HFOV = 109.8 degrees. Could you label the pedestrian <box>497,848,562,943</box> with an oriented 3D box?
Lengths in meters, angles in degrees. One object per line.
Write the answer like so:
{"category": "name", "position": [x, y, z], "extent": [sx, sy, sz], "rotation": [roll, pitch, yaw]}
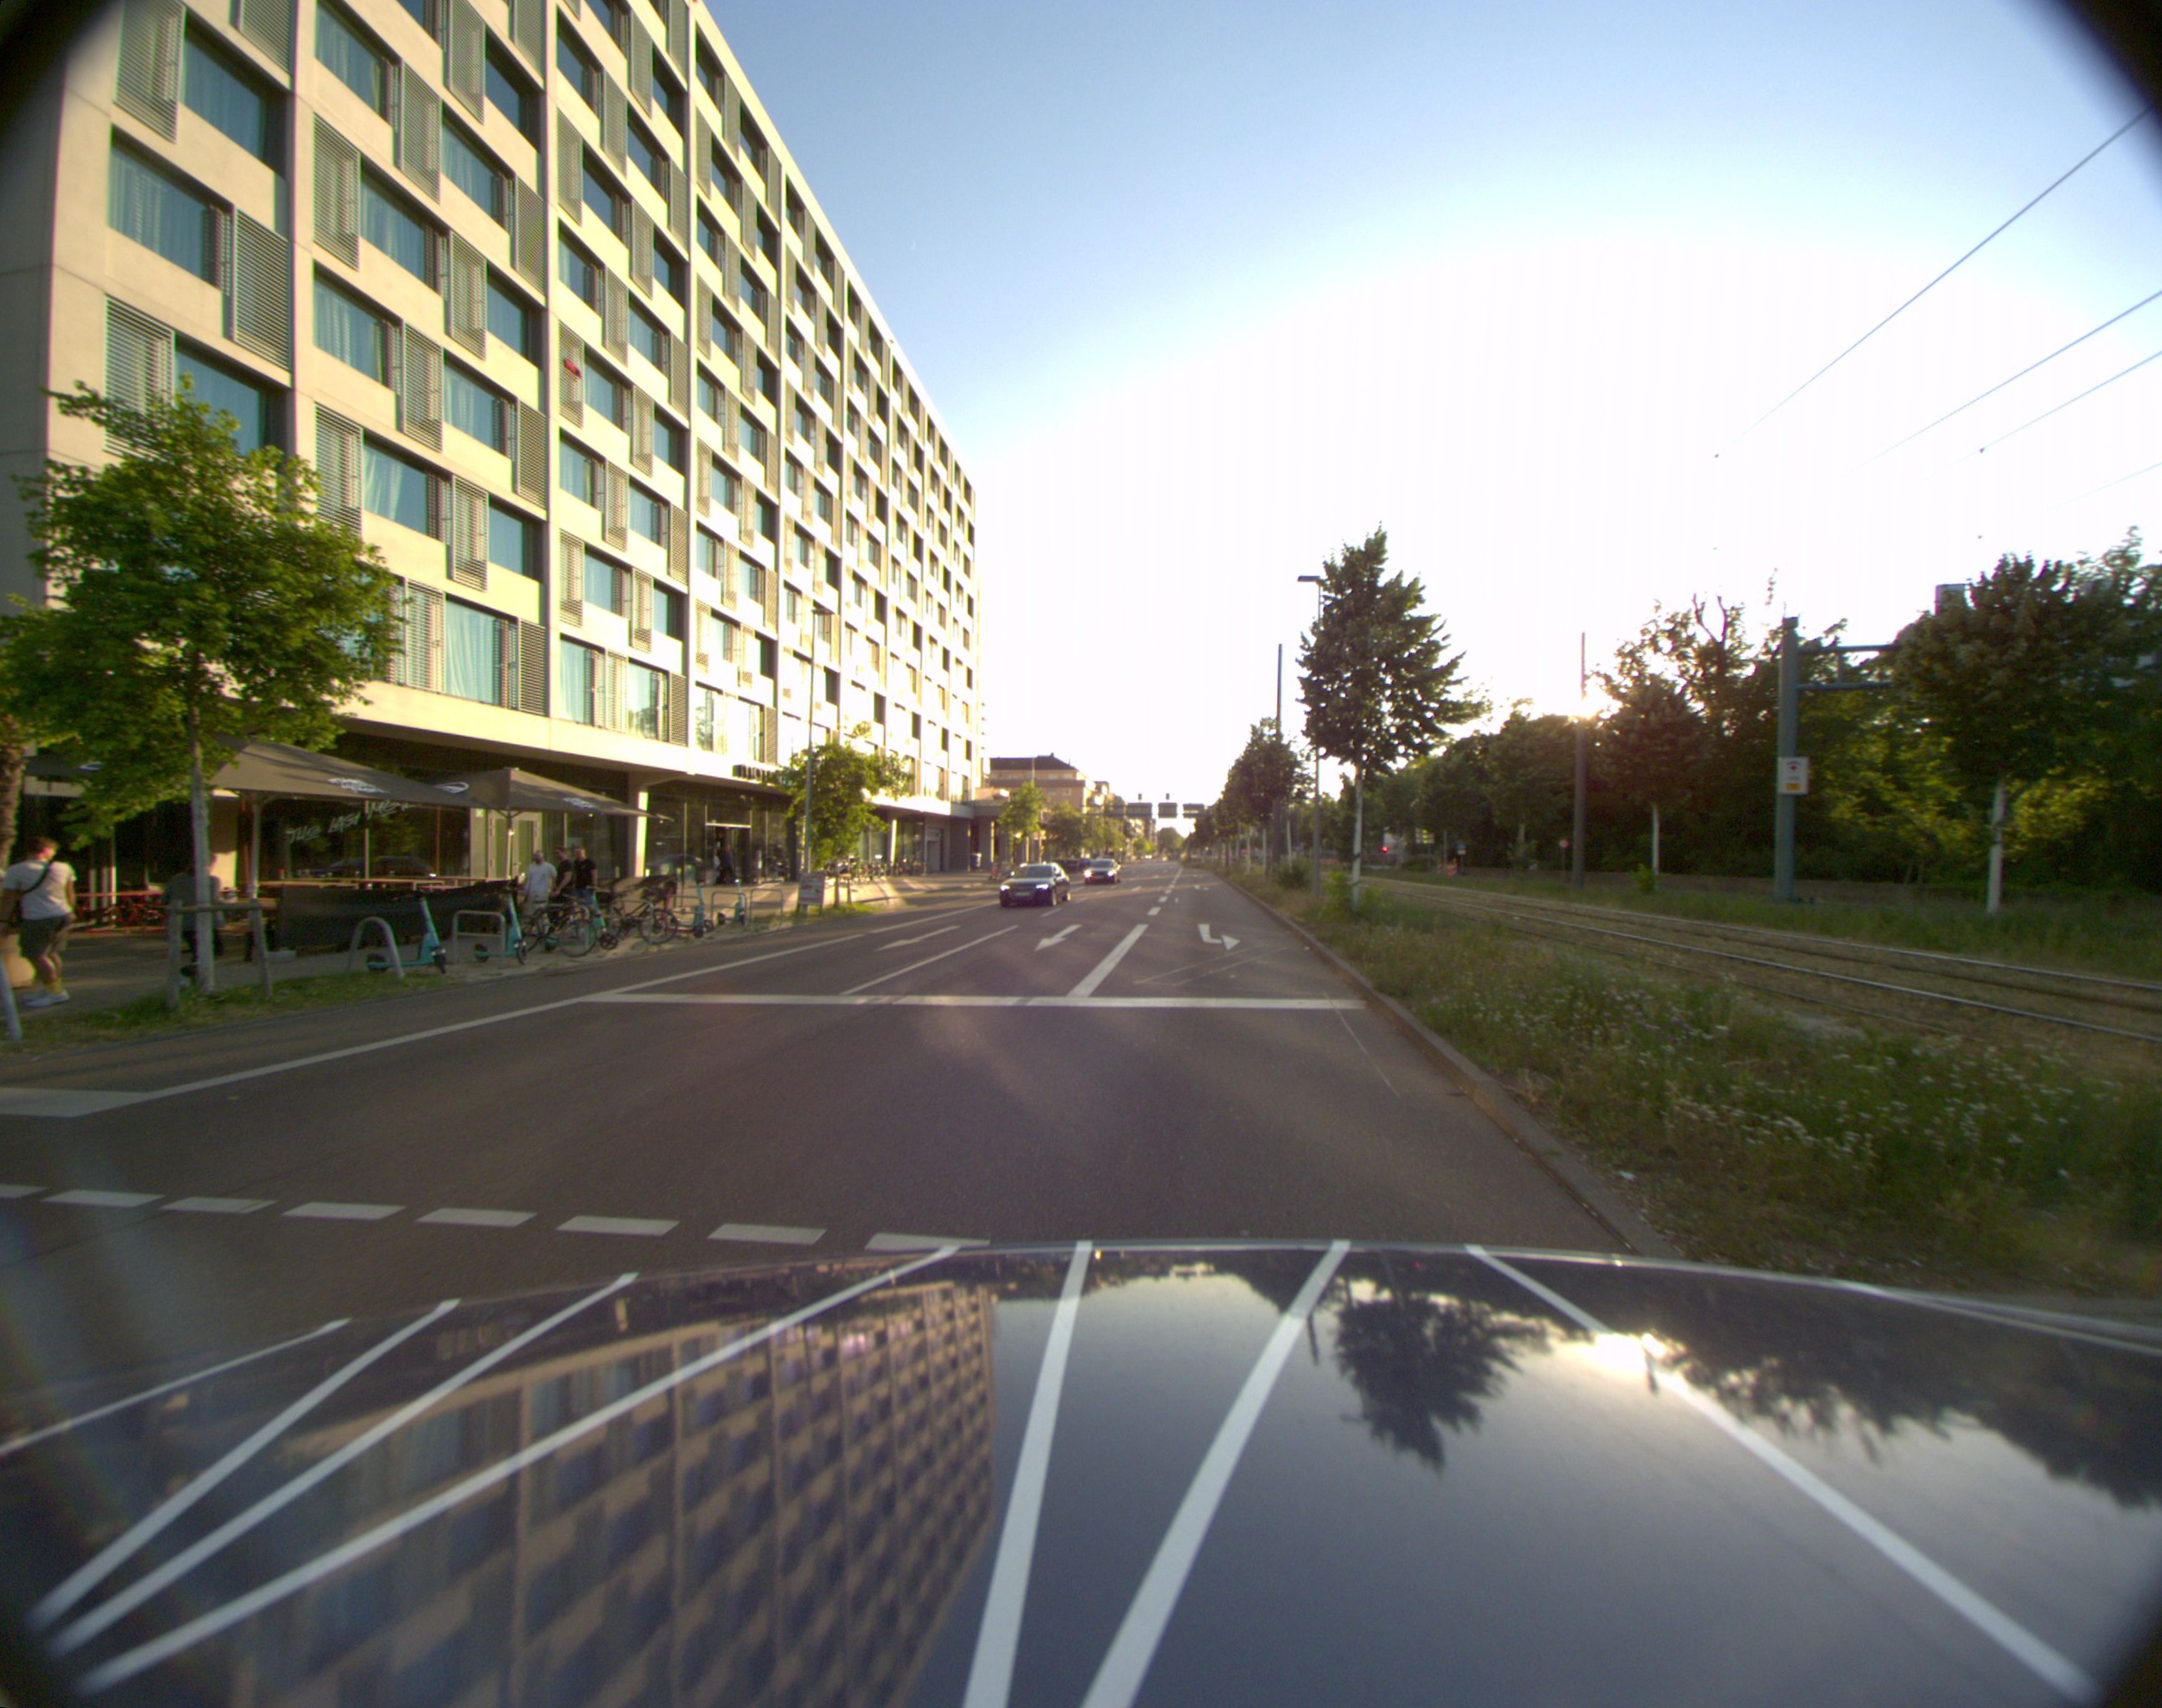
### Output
{"category": "pedestrian", "position": [-10.917, 0.800, 15.062], "extent": [0.619, 1.801, 0.778], "rotation": [4, 2, 17]}

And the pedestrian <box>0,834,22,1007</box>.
{"category": "pedestrian", "position": [-12.204, 0.728, 8.118], "extent": [0.829, 1.878, 0.863], "rotation": [0, 3, -40]}

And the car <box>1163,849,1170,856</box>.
{"category": "car", "position": [23.404, -0.391, 207.708], "extent": [1.726, 1.910, 4.295], "rotation": [-2, 0, 4]}

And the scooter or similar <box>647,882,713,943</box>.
{"category": "scooter or similar", "position": [-8.452, 1.223, 16.022], "extent": [1.158, 1.185, 0.510], "rotation": [2, 3, 9]}

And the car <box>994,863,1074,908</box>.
{"category": "car", "position": [-1.554, 1.050, 26.812], "extent": [1.914, 1.387, 4.279], "rotation": [-2, 0, 9]}

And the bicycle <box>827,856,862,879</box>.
{"category": "bicycle", "position": [-12.310, 0.701, 39.647], "extent": [1.611, 1.148, 0.612], "rotation": [2, 1, -5]}

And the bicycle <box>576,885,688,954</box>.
{"category": "bicycle", "position": [-8.670, 1.246, 14.695], "extent": [1.850, 1.175, 0.608], "rotation": [3, 1, 7]}

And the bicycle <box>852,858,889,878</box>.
{"category": "bicycle", "position": [-11.789, 0.762, 42.634], "extent": [1.889, 1.004, 0.566], "rotation": [3, 1, 6]}

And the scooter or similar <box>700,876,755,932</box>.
{"category": "scooter or similar", "position": [-8.483, 1.170, 18.215], "extent": [1.292, 1.211, 0.537], "rotation": [4, 2, 31]}

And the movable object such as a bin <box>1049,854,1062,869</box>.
{"category": "movable object such as a bin", "position": [-2.288, 0.688, 68.621], "extent": [1.016, 1.339, 1.161], "rotation": [3, 0, 3]}

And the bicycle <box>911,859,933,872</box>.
{"category": "bicycle", "position": [-10.853, 0.776, 51.924], "extent": [1.424, 0.886, 0.457], "rotation": [1, 1, 7]}

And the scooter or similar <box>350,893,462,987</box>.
{"category": "scooter or similar", "position": [-9.558, 1.206, 10.777], "extent": [1.054, 1.216, 0.598], "rotation": [2, 1, 4]}

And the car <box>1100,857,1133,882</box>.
{"category": "car", "position": [2.167, 0.905, 45.478], "extent": [1.862, 1.387, 4.278], "rotation": [-2, 0, 4]}

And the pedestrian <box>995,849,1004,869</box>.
{"category": "pedestrian", "position": [-6.732, 0.418, 62.736], "extent": [0.577, 1.609, 0.643], "rotation": [2, 1, 5]}

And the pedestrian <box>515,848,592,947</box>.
{"category": "pedestrian", "position": [-10.284, 0.817, 14.830], "extent": [0.744, 1.838, 0.941], "rotation": [3, 2, 17]}

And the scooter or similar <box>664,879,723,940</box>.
{"category": "scooter or similar", "position": [-8.526, 1.209, 16.721], "extent": [1.128, 1.207, 0.532], "rotation": [3, 3, 23]}

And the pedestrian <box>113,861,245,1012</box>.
{"category": "pedestrian", "position": [-10.631, 0.947, 8.978], "extent": [0.855, 1.694, 0.577], "rotation": [2, 1, -1]}

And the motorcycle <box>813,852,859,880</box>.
{"category": "motorcycle", "position": [-12.517, 0.606, 38.822], "extent": [2.118, 1.378, 0.671], "rotation": [2, 0, -6]}

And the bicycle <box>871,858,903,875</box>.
{"category": "bicycle", "position": [-11.555, 0.742, 45.317], "extent": [1.703, 0.980, 0.551], "rotation": [2, 1, 5]}

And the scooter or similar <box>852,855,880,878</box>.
{"category": "scooter or similar", "position": [-11.650, 0.669, 41.137], "extent": [1.270, 1.226, 0.609], "rotation": [2, 1, 4]}

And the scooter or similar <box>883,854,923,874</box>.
{"category": "scooter or similar", "position": [-11.410, 0.613, 48.703], "extent": [2.377, 1.176, 0.621], "rotation": [2, 1, 7]}

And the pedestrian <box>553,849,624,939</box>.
{"category": "pedestrian", "position": [-10.331, 0.809, 15.966], "extent": [0.757, 1.814, 0.941], "rotation": [3, 1, 17]}

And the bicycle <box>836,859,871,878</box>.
{"category": "bicycle", "position": [-12.142, 0.769, 40.595], "extent": [1.703, 0.980, 0.551], "rotation": [2, 1, 5]}

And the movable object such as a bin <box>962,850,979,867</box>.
{"category": "movable object such as a bin", "position": [-9.367, 0.367, 64.558], "extent": [1.107, 1.322, 1.284], "rotation": [2, 1, 7]}

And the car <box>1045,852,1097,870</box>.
{"category": "car", "position": [-0.924, 0.673, 73.550], "extent": [4.678, 1.500, 1.934], "rotation": [2, 1, -32]}

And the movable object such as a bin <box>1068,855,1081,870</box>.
{"category": "movable object such as a bin", "position": [-0.556, 0.733, 68.450], "extent": [1.087, 1.294, 1.361], "rotation": [3, 1, 1]}

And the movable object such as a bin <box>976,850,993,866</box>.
{"category": "movable object such as a bin", "position": [-8.726, 0.349, 68.925], "extent": [1.184, 1.315, 1.267], "rotation": [3, 1, 6]}

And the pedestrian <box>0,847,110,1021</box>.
{"category": "pedestrian", "position": [-11.363, 0.835, 8.274], "extent": [0.578, 1.776, 0.827], "rotation": [1, 2, -18]}

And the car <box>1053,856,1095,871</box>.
{"category": "car", "position": [-0.695, 0.986, 79.758], "extent": [3.998, 1.408, 1.746], "rotation": [2, 1, -30]}

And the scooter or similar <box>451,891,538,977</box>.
{"category": "scooter or similar", "position": [-9.197, 1.227, 11.915], "extent": [1.062, 1.216, 0.550], "rotation": [3, 1, 17]}

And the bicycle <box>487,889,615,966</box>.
{"category": "bicycle", "position": [-9.065, 1.249, 13.031], "extent": [1.797, 1.187, 0.568], "rotation": [3, 1, 3]}

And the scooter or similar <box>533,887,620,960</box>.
{"category": "scooter or similar", "position": [-8.951, 1.227, 13.510], "extent": [1.212, 1.194, 0.480], "rotation": [2, 1, 3]}
